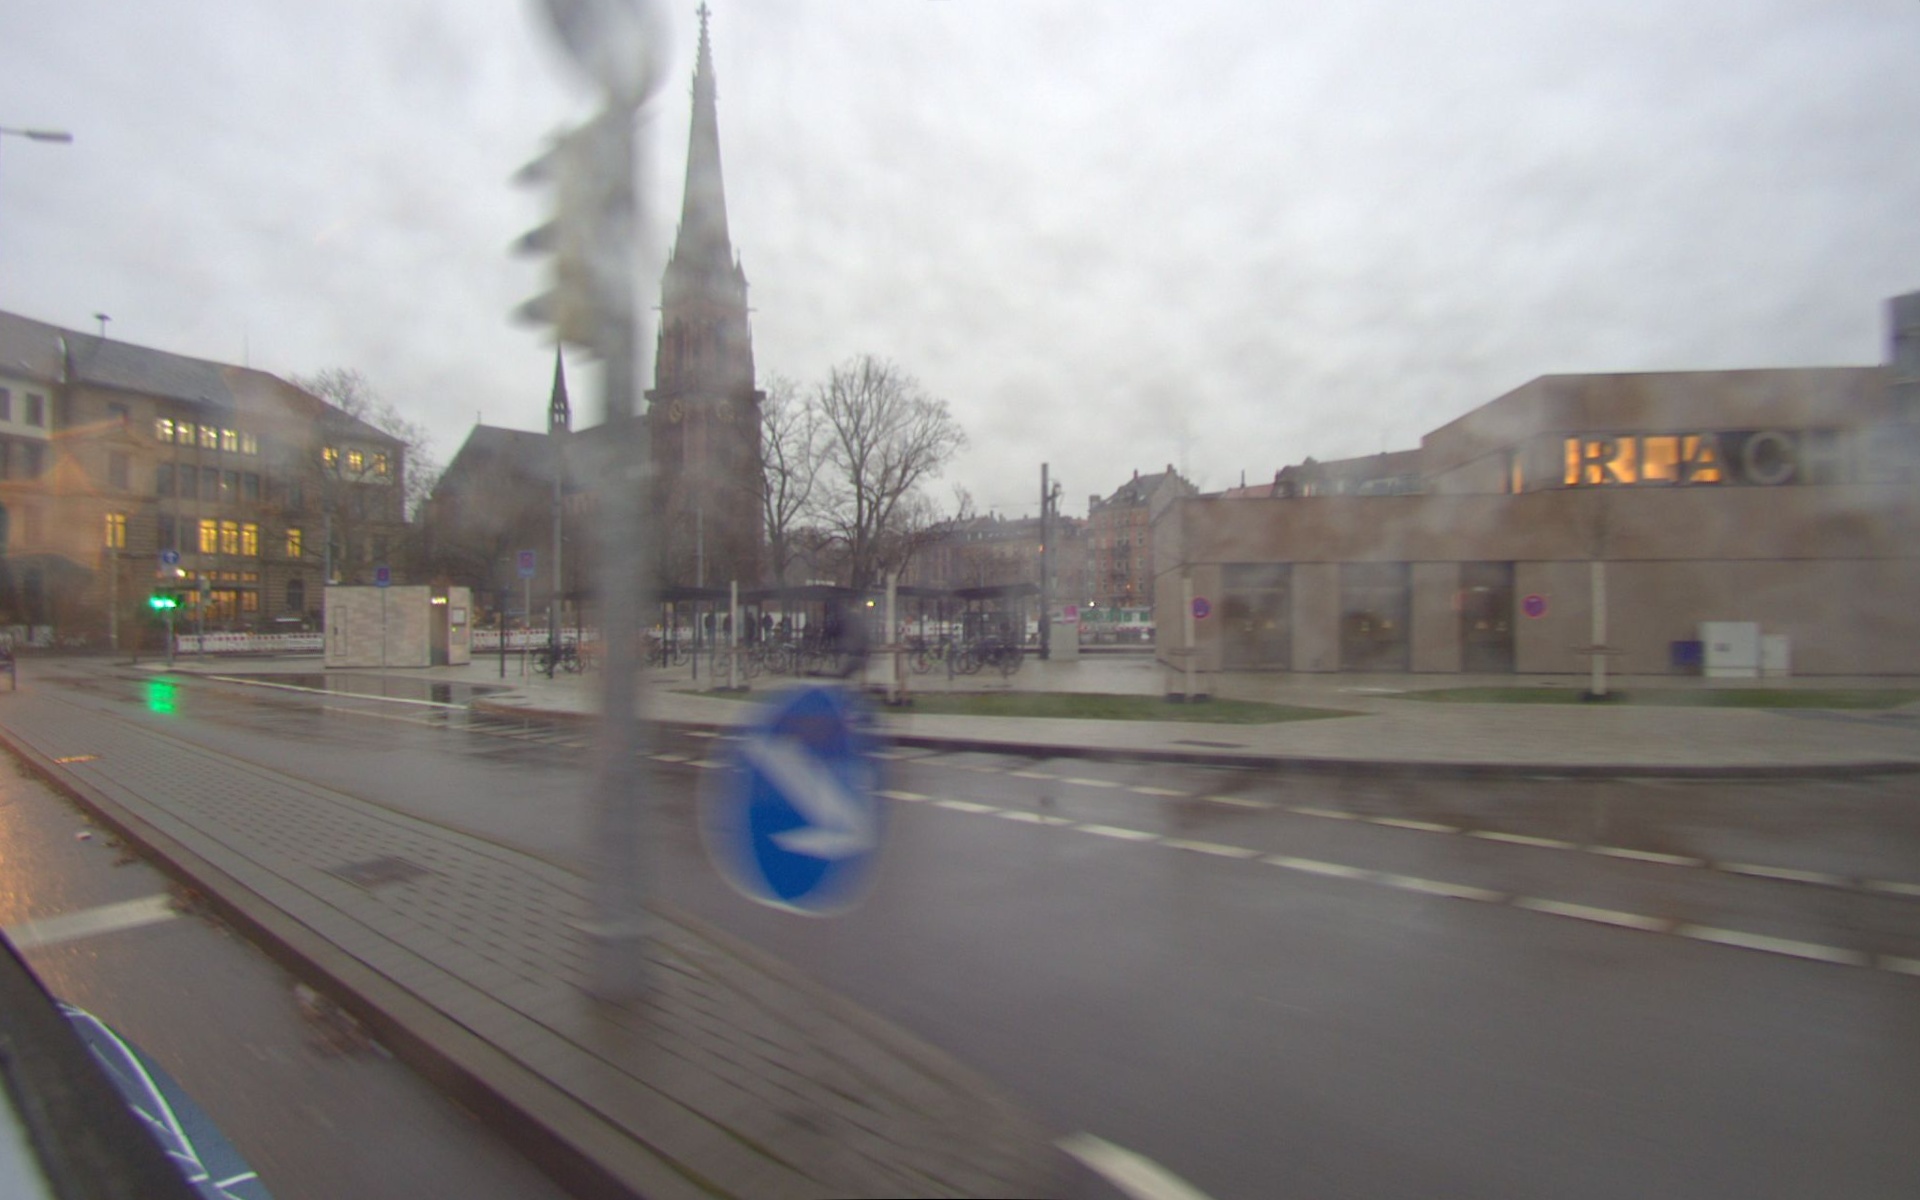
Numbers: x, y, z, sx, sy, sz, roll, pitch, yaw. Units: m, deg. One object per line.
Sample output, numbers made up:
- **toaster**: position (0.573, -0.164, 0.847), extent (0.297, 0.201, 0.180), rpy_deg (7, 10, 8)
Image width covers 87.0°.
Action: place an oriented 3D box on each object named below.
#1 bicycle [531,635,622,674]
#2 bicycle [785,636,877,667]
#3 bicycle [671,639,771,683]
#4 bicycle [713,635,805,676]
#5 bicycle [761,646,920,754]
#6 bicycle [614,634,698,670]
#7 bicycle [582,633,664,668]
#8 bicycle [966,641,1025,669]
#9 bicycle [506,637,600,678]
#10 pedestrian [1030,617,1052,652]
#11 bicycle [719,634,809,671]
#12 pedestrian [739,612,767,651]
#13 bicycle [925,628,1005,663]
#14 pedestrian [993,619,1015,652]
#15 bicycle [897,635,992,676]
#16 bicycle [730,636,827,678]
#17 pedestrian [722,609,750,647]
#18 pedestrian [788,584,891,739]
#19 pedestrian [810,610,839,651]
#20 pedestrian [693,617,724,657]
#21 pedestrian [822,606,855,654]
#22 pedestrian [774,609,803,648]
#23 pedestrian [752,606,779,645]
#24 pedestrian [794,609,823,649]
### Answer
- **bicycle**: position (-12.100, 1.727, 31.948), extent (2.721, 1.113, 0.645), rpy_deg (-2, 0, 11)
- **bicycle**: position (-4.561, 1.820, 35.824), extent (3.155, 1.058, 0.793), rpy_deg (-1, -1, 7)
- **bicycle**: position (-6.776, 1.726, 28.710), extent (2.721, 1.113, 0.645), rpy_deg (-2, 0, 11)
- **bicycle**: position (-6.223, 1.709, 31.388), extent (2.713, 1.113, 0.647), rpy_deg (-2, 0, 1)
- **bicycle**: position (-1.430, 1.142, 11.962), extent (1.865, 1.185, 0.618), rpy_deg (-1, -3, 30)
- **bicycle**: position (-10.292, 1.765, 34.279), extent (2.721, 1.113, 0.645), rpy_deg (-2, 0, 11)
- **bicycle**: position (-11.891, 1.788, 35.756), extent (2.718, 1.113, 0.645), rpy_deg (-2, 0, 8)
- **bicycle**: position (1.153, 1.753, 32.451), extent (1.842, 0.878, 0.605), rpy_deg (-1, -2, 7)
- **bicycle**: position (-12.389, 1.749, 30.795), extent (2.721, 1.113, 0.645), rpy_deg (-2, 0, 11)
- **pedestrian**: position (4.388, 1.867, 54.976), extent (0.808, 1.844, 0.934), rpy_deg (-2, -3, 42)
- **bicycle**: position (-6.209, 1.664, 32.170), extent (2.713, 1.113, 0.646), rpy_deg (-1, 0, 2)
- **pedestrian**: position (-10.120, 1.547, 49.500), extent (0.848, 1.864, 1.021), rpy_deg (-2, -3, 42)
- **bicycle**: position (0.179, 1.592, 35.580), extent (2.721, 1.113, 0.645), rpy_deg (-2, 0, 11)
- **pedestrian**: position (2.483, 2.009, 56.835), extent (0.808, 1.844, 0.934), rpy_deg (-2, -3, 42)
- **bicycle**: position (-0.454, 1.618, 29.444), extent (2.715, 1.113, 0.607), rpy_deg (-1, 0, 4)
- **bicycle**: position (-5.314, 1.682, 29.669), extent (2.721, 1.113, 0.645), rpy_deg (-2, 0, 11)
- **pedestrian**: position (-11.024, 1.369, 49.845), extent (0.848, 1.864, 1.021), rpy_deg (-2, -3, 42)
- **pedestrian**: position (-1.426, 0.718, 12.001), extent (0.978, 1.747, 0.710), rpy_deg (-1, -3, 30)
- **pedestrian**: position (-6.476, 1.449, 48.395), extent (0.848, 1.864, 1.021), rpy_deg (-2, 0, 42)
- **pedestrian**: position (-12.199, 1.776, 49.044), extent (0.848, 1.863, 1.036), rpy_deg (-2, 2, 42)
- **pedestrian**: position (-4.506, 1.084, 37.491), extent (0.848, 1.693, 0.805), rpy_deg (1, 4, 42)
- **pedestrian**: position (-8.415, 1.397, 49.654), extent (0.848, 1.864, 1.021), rpy_deg (-2, 0, 42)
- **pedestrian**: position (-9.384, 1.249, 48.888), extent (0.802, 1.864, 1.021), rpy_deg (-2, -3, 42)
- **pedestrian**: position (-7.355, 1.417, 49.014), extent (0.848, 1.864, 1.021), rpy_deg (-2, 0, 42)
